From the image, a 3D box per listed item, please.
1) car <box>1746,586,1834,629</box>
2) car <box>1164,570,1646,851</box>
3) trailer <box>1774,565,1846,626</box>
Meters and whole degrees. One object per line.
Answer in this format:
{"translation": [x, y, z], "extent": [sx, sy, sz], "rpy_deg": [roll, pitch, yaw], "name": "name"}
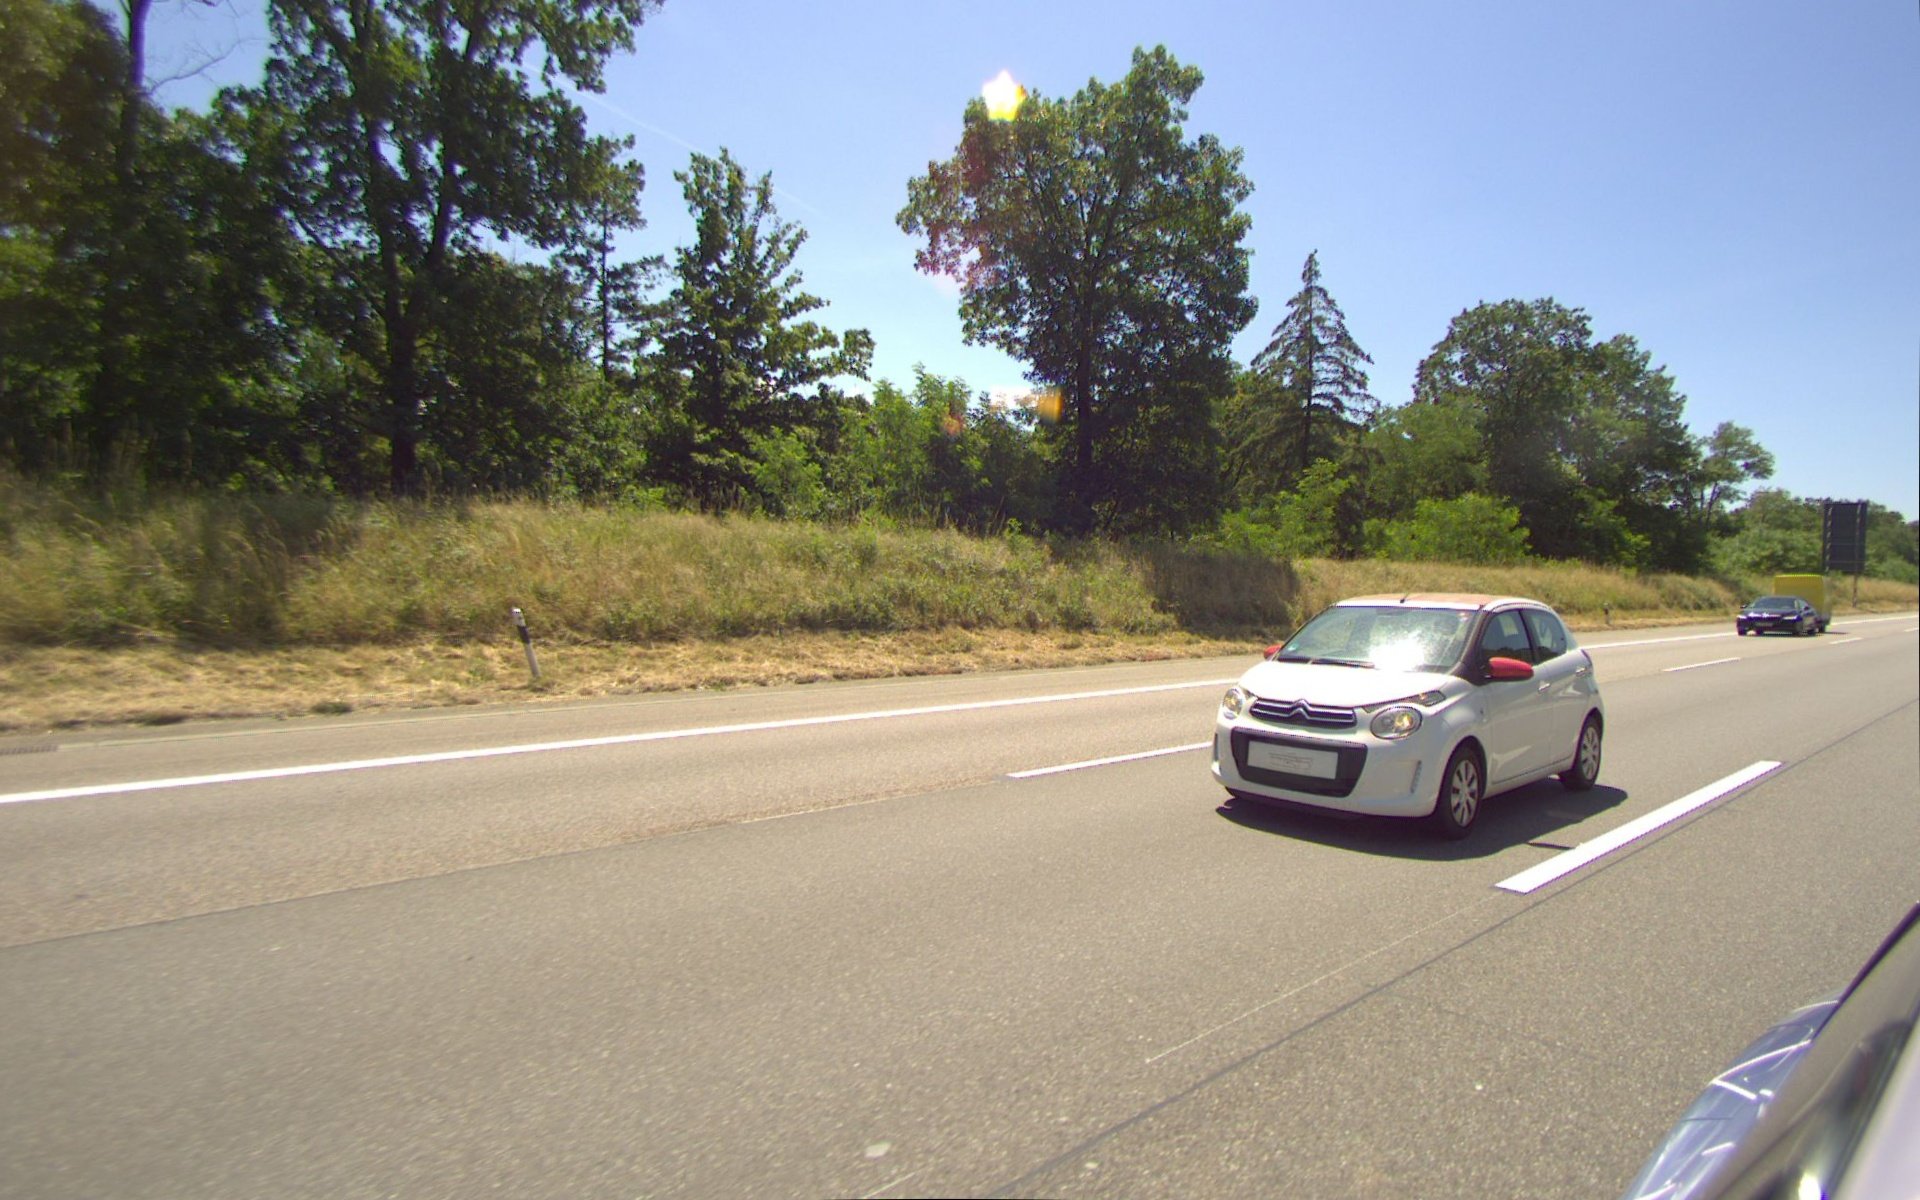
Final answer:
{"translation": [30.744, 0.239, 37.452], "extent": [4.706, 1.474, 1.824], "rpy_deg": [0, 1, -42], "name": "car"}
{"translation": [3.410, 0.581, 7.410], "extent": [3.953, 1.514, 1.711], "rpy_deg": [0, 1, -41], "name": "car"}
{"translation": [33.885, -0.198, 40.327], "extent": [3.773, 2.318, 1.705], "rpy_deg": [0, 0, -42], "name": "trailer"}
